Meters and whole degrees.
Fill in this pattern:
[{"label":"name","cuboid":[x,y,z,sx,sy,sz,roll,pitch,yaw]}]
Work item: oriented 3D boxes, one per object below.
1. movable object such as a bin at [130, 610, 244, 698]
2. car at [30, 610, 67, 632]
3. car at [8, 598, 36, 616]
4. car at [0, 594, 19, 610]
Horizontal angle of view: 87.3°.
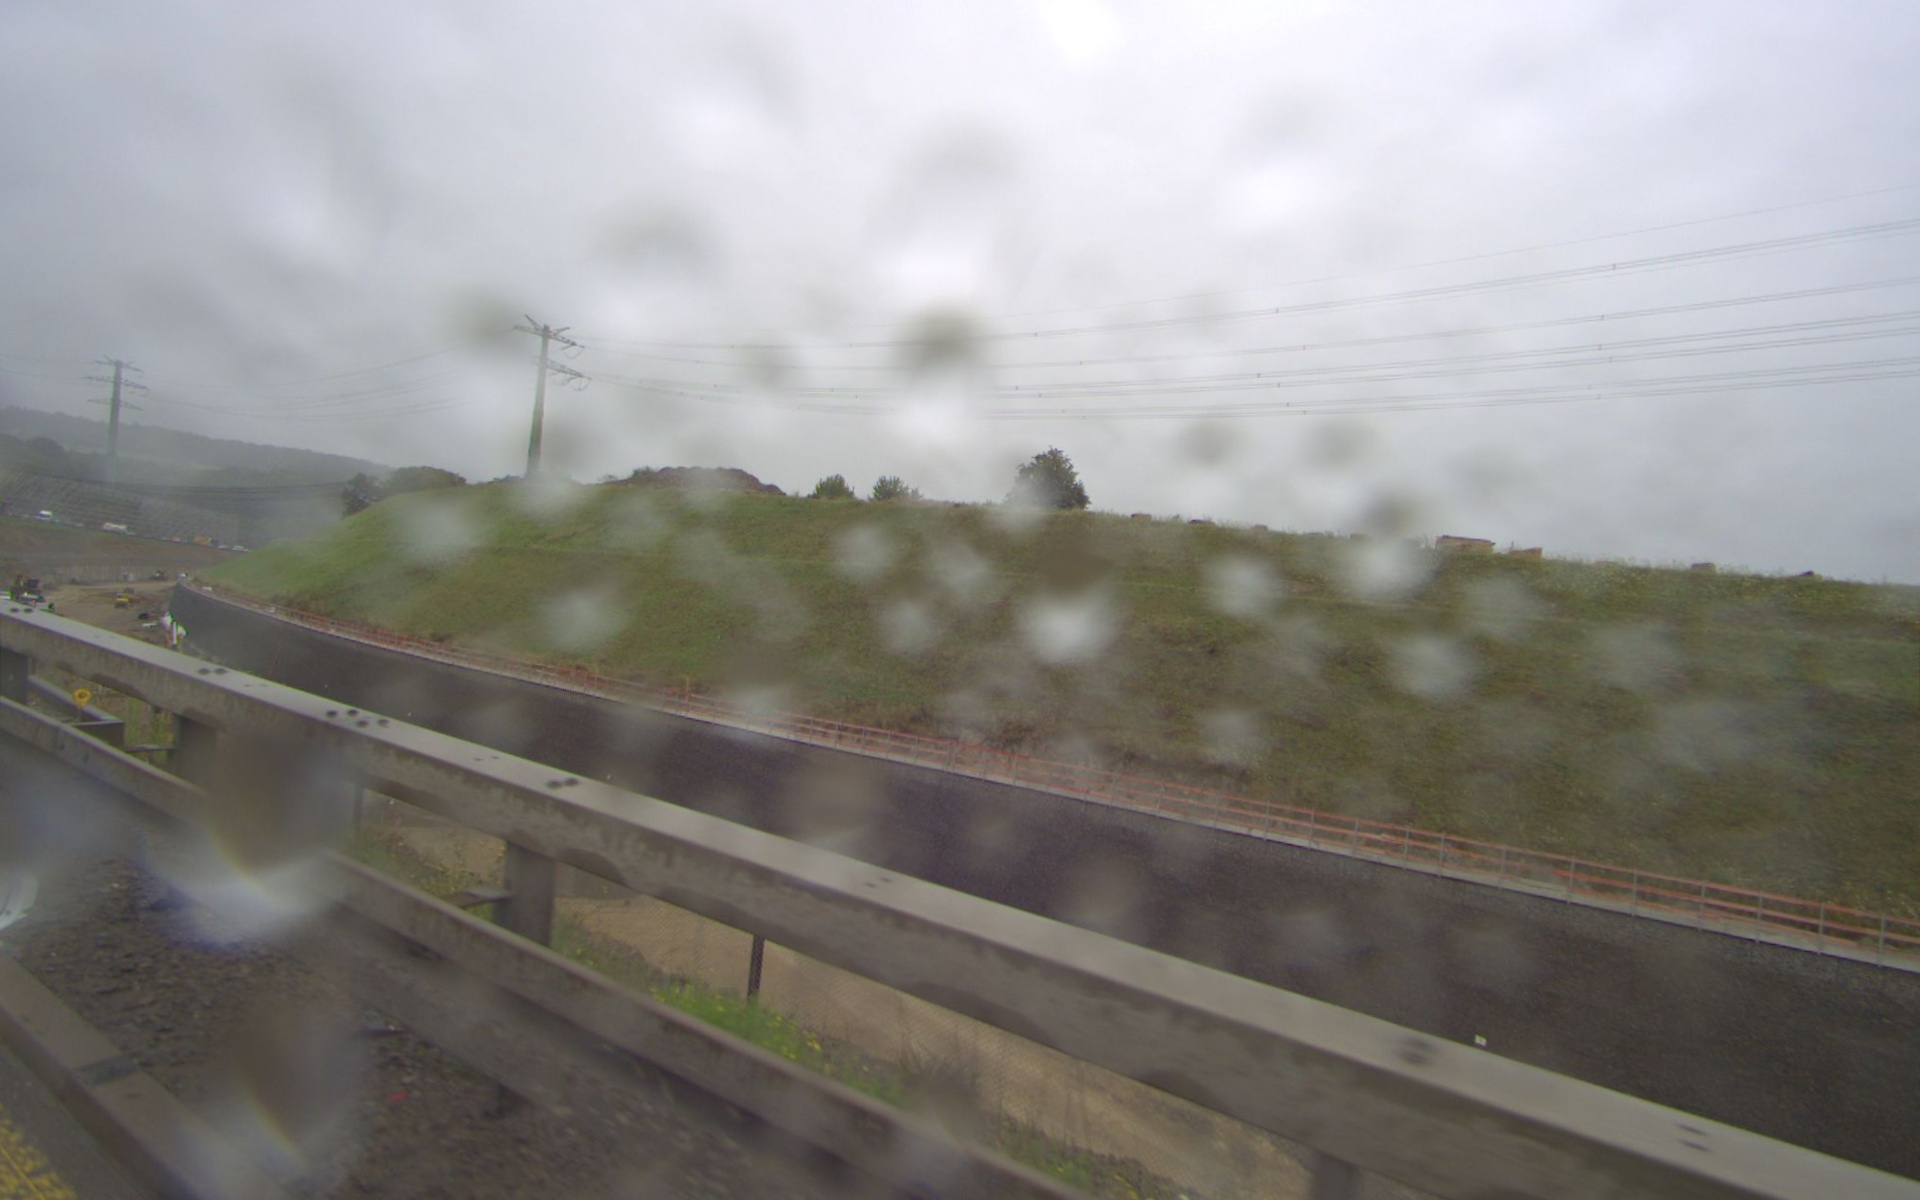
[{"label":"movable object such as a bin","cuboid":[-41.138,2.883,53.536,4.055,3.910,3.221,8,-2,34]},{"label":"car","cuboid":[-111.072,2.527,122.569,3.938,2.036,2.368,7,-2,36]},{"label":"car","cuboid":[-124.562,0.961,133.591,3.941,1.837,1.994,6,-2,38]},{"label":"car","cuboid":[-154.307,0.271,163.147,1.987,2.036,3.955,10,-2,-41]}]
